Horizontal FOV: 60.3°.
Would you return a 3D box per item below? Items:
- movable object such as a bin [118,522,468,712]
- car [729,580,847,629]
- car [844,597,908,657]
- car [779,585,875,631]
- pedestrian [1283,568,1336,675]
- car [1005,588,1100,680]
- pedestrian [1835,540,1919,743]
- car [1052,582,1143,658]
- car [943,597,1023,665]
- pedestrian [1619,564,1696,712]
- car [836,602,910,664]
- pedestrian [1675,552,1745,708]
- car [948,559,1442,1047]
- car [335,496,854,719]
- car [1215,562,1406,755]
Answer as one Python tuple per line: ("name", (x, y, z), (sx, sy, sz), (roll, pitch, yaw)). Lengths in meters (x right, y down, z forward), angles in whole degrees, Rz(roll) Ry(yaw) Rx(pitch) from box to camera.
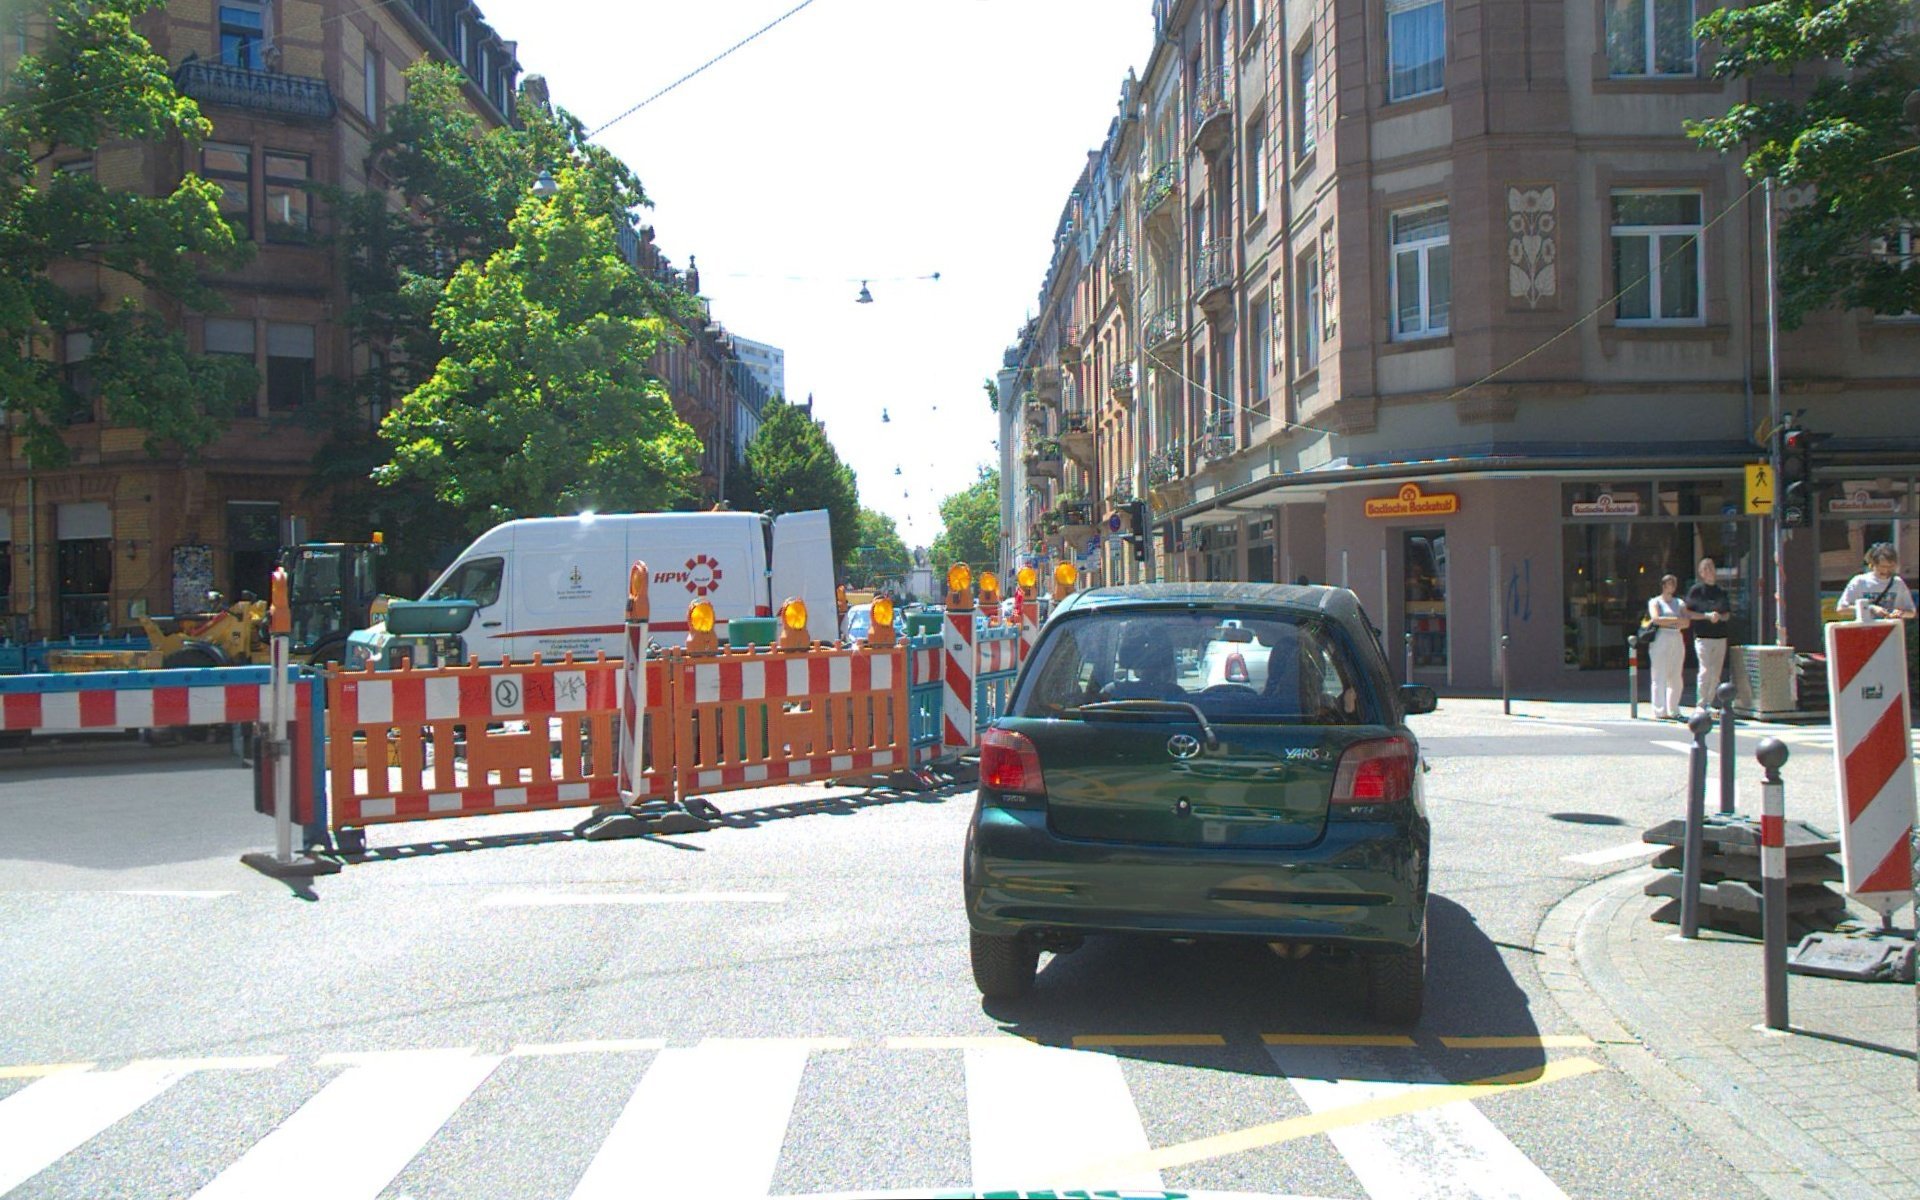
("movable object such as a bin", (-9.931, 0.251, 24.936), (4.453, 2.705, 1.953), (1, 0, -4))
("car", (-7.448, 0.202, 71.759), (4.724, 2.029, 2.033), (-1, 0, -30))
("car", (-2.581, 0.807, 51.704), (1.719, 1.673, 4.376), (-4, 0, -1))
("car", (-6.767, 0.409, 84.225), (4.507, 2.226, 1.981), (-1, 0, -29))
("pedestrian", (5.496, 0.334, 26.034), (0.628, 1.652, 0.804), (-1, 0, -1))
("car", (1.703, 0.600, 31.341), (1.492, 1.620, 3.262), (-1, 0, -2))
("pedestrian", (8.246, 0.370, 14.891), (0.467, 1.763, 0.872), (-1, -1, 18))
("car", (3.445, 0.485, 42.189), (1.833, 1.743, 4.503), (-3, 0, 0))
("car", (0.591, 0.805, 45.298), (1.953, 1.646, 3.999), (-4, 0, -1))
("pedestrian", (8.228, 0.435, 19.522), (0.689, 1.673, 0.422), (-3, 3, -10))
("car", (-2.190, 0.813, 42.556), (1.719, 1.469, 3.999), (-2, 0, -1))
("pedestrian", (8.924, 0.346, 19.696), (0.564, 1.799, 0.470), (-3, 3, -9))
("car", (1.118, 0.632, 6.898), (1.579, 1.511, 3.243), (0, 0, 14))
("car", (-4.787, 0.095, 22.502), (6.486, 2.799, 2.379), (1, 0, 0))
("car", (3.234, 0.462, 15.013), (1.490, 1.547, 3.266), (-1, 0, 14))
